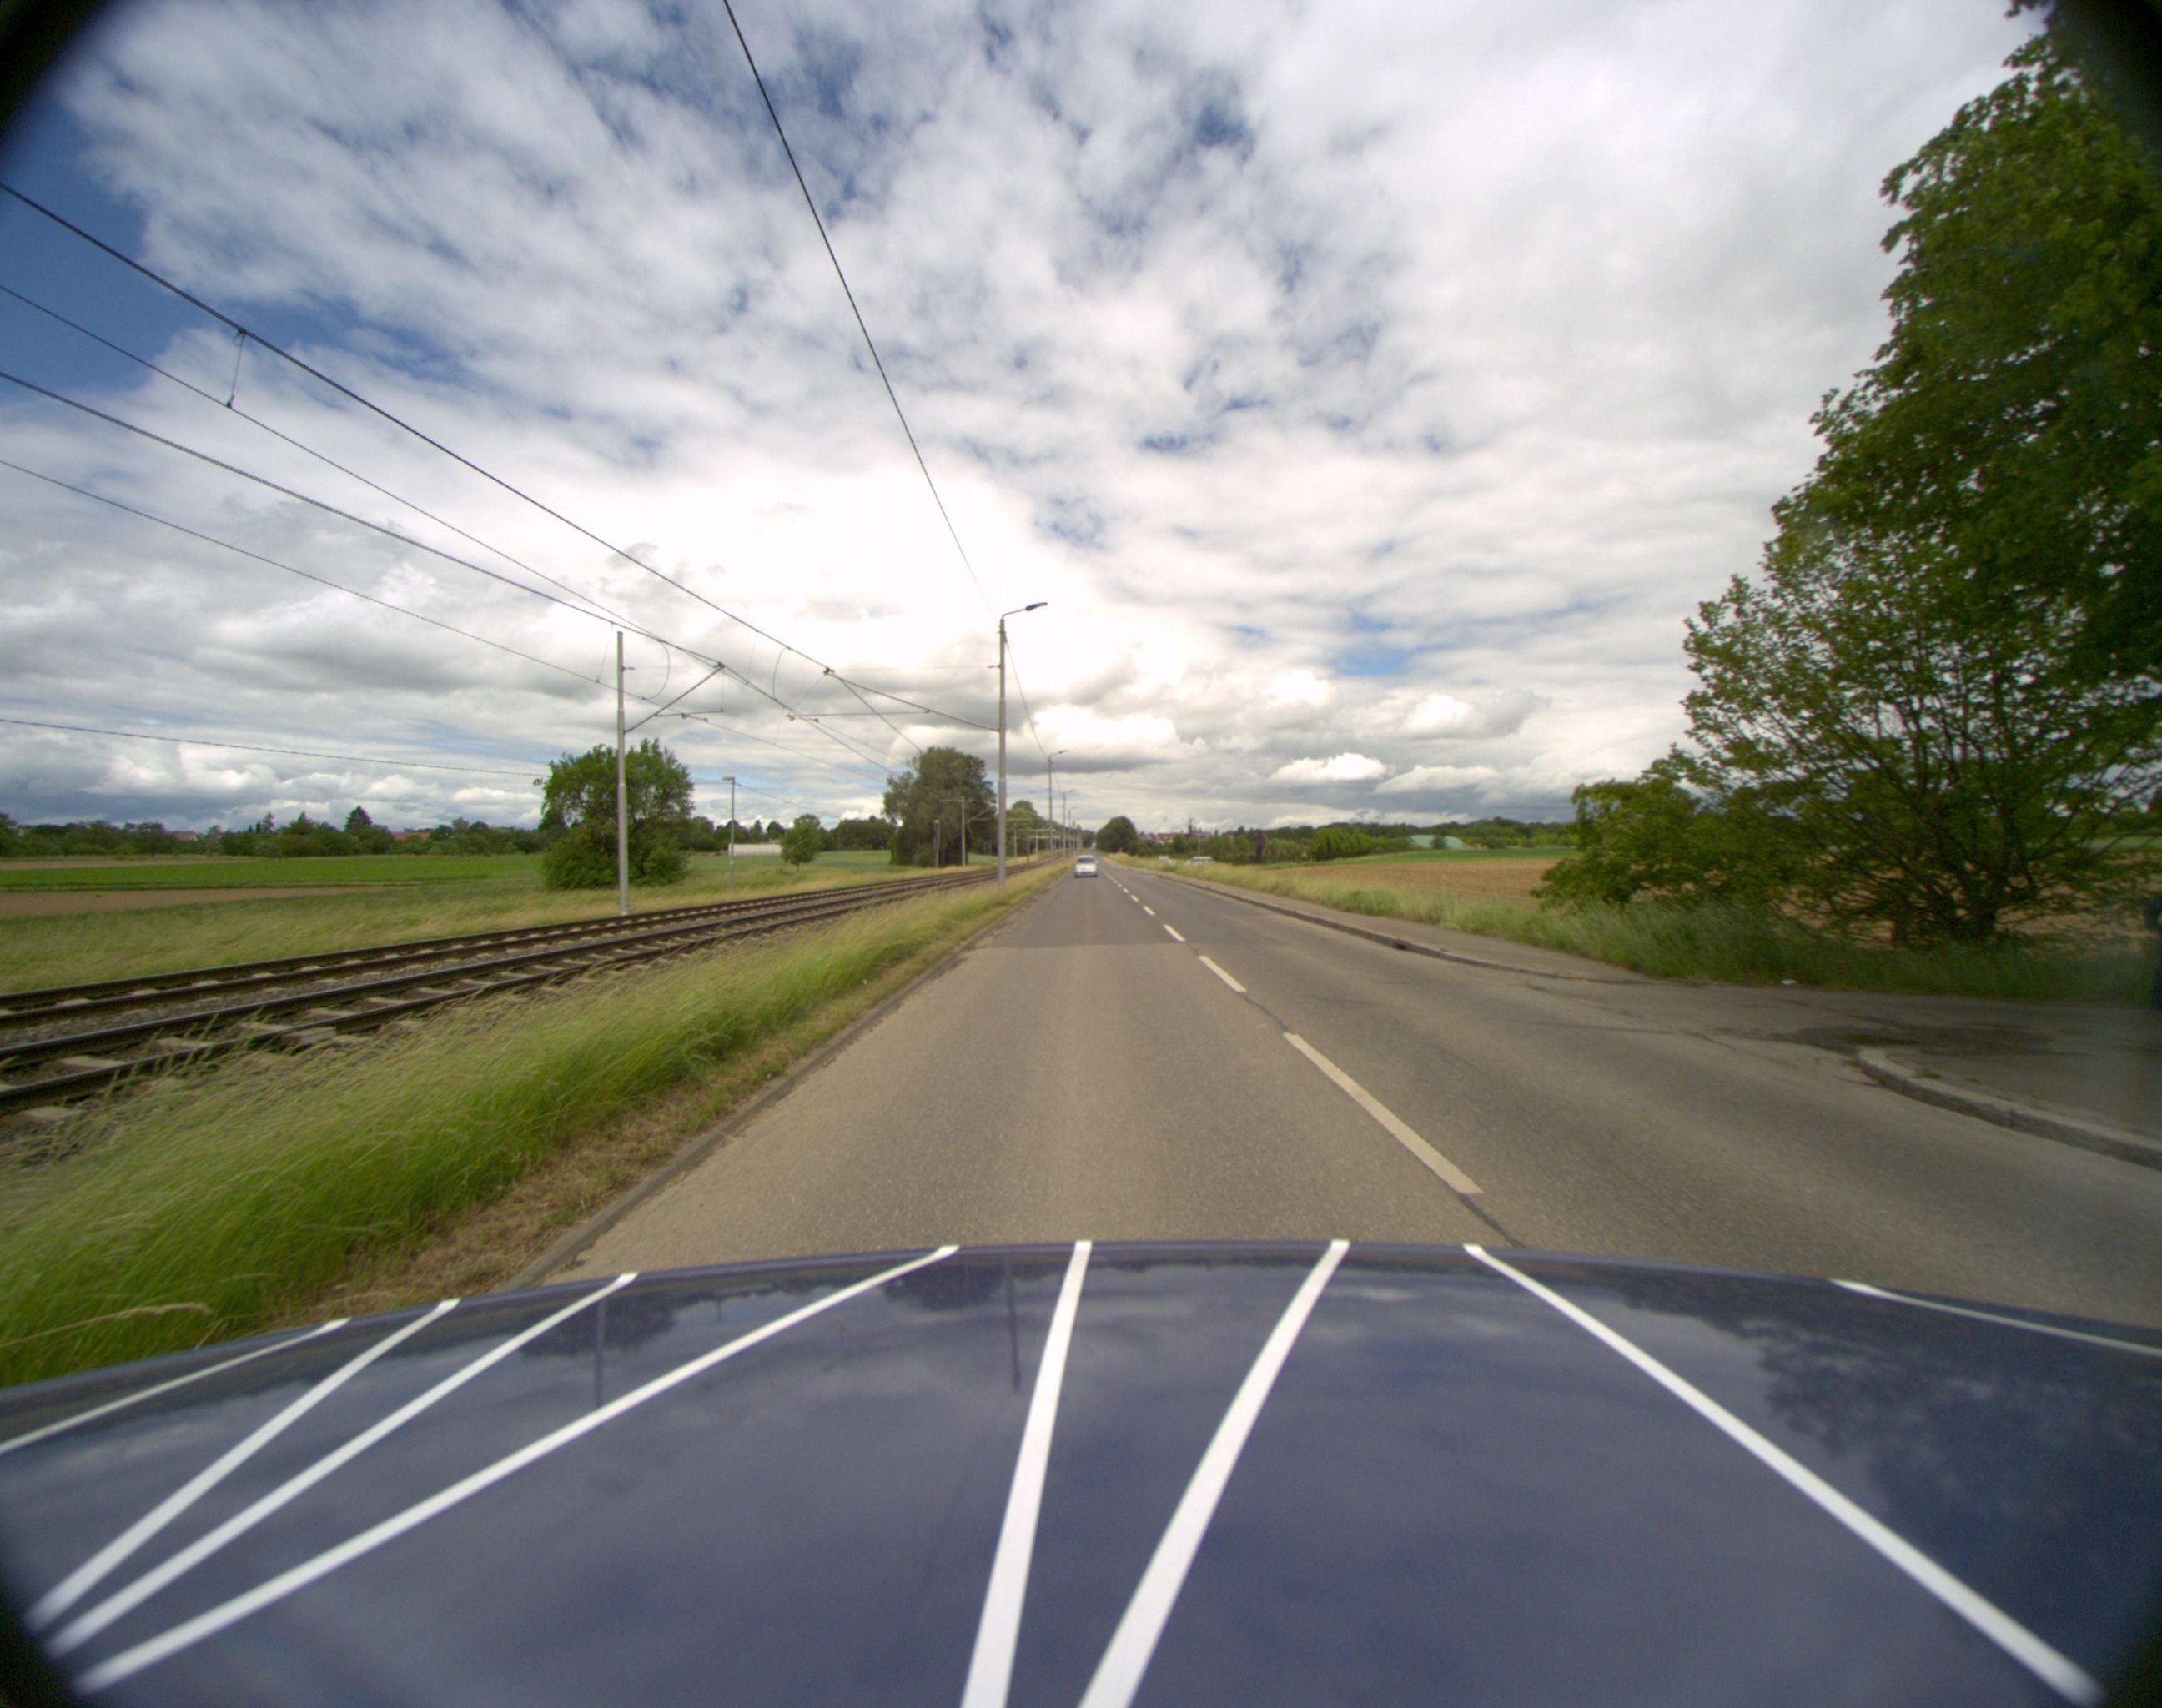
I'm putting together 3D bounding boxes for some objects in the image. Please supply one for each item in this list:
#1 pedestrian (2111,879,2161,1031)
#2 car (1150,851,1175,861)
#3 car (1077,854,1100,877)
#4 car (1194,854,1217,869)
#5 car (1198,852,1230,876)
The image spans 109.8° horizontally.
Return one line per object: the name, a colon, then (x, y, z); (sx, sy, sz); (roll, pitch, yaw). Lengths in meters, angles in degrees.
pedestrian: (11.655, 1.062, 7.965); (0.706, 1.584, 0.707); (0, -1, 10)
car: (11.587, 0.307, 107.651); (3.216, 1.244, 1.455); (-1, 1, 29)
car: (0.596, 0.841, 57.185); (1.643, 1.510, 3.868); (-2, 1, 1)
car: (11.085, 0.653, 67.797); (1.451, 1.244, 3.599); (-2, 1, 1)
car: (8.853, 0.623, 50.702); (1.472, 1.439, 3.868); (-2, 1, 1)
